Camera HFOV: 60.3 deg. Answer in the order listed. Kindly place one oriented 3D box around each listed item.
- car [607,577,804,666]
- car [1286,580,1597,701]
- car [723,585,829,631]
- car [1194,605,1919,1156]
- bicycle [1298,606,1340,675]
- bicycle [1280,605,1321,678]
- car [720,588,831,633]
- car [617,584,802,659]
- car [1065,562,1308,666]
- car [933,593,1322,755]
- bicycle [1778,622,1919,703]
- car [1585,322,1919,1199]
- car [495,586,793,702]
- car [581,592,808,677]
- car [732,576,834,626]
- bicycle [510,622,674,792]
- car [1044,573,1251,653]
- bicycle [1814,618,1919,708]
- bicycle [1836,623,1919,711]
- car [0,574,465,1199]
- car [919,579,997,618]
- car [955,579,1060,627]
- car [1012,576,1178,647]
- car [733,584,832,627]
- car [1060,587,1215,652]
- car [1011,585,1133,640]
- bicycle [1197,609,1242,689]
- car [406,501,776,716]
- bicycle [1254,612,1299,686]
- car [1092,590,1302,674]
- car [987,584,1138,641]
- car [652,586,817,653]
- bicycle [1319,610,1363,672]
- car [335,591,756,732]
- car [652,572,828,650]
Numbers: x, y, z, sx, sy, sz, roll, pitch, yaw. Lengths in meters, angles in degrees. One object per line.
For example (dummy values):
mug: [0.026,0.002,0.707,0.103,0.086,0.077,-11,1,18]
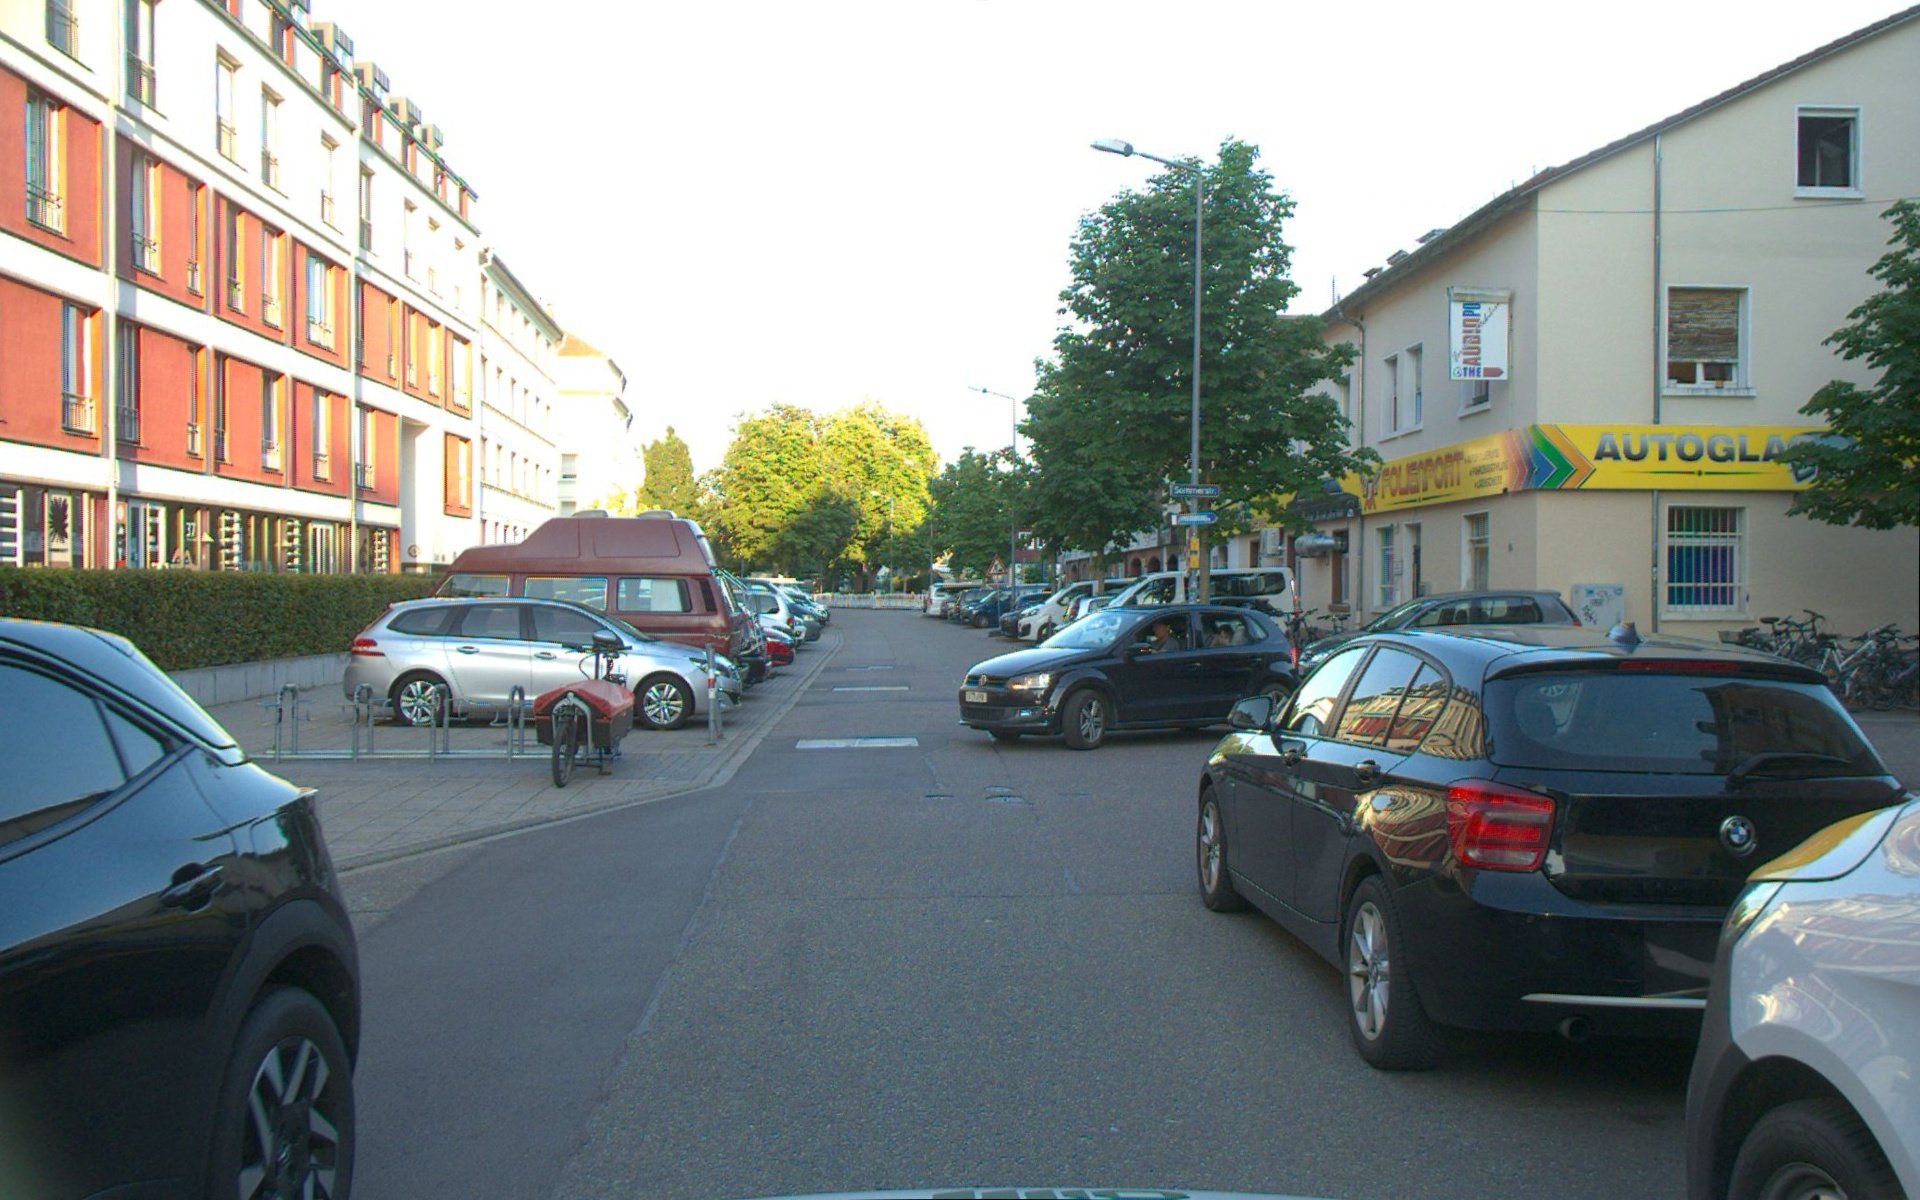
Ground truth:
car: [-5.724,0.481,37.584,4.171,1.868,1.999,1,0,-3]
car: [6.892,0.552,23.916,3.968,1.540,1.756,-1,2,-2]
car: [-7.523,0.325,68.000,4.171,1.744,1.999,1,0,-3]
car: [2.181,0.782,6.647,1.687,1.449,4.251,1,0,-3]
bicycle: [6.291,0.695,29.004,0.346,1.163,1.481,-1,0,-2]
bicycle: [5.941,0.709,28.908,0.346,1.221,1.481,-1,0,-2]
car: [-7.243,0.391,65.270,4.172,1.650,1.999,1,0,-4]
car: [-6.007,0.506,40.046,4.171,1.689,1.999,1,0,-3]
car: [4.862,0.278,35.980,4.889,2.018,2.219,-2,0,-2]
car: [1.795,0.696,17.413,3.888,1.480,1.641,-1,1,-30]
bicycle: [12.083,0.843,22.363,1.812,1.028,0.428,1,2,-1]
car: [2.455,0.549,1.217,1.855,1.917,5.079,1,0,-3]
car: [-4.609,0.634,24.597,4.126,1.565,1.789,1,0,-4]
car: [-5.097,0.654,32.188,4.124,1.516,1.849,1,0,-2]
car: [-8.028,0.037,75.391,4.443,2.171,1.999,1,0,-3]
bicycle: [-3.091,0.849,14.214,0.791,1.243,2.865,1,0,-1]
car: [4.627,0.318,41.317,4.844,1.772,2.049,-2,0,-2]
bicycle: [12.205,0.825,21.728,1.884,1.148,0.427,1,1,-11]
bicycle: [12.239,0.860,21.283,1.816,1.093,0.427,1,2,-11]
car: [-2.239,0.756,2.202,1.742,1.544,4.002,-1,0,3]
car: [-0.121,-0.084,88.975,3.893,1.945,2.046,-2,0,-7]
car: [2.095,0.122,73.609,4.394,1.945,1.685,-2,0,-7]
car: [4.138,0.345,51.192,4.847,1.992,2.047,-2,0,-4]
car: [-7.775,0.236,72.764,4.171,1.780,1.999,1,0,-3]
car: [4.674,0.504,43.953,3.833,1.552,1.938,-2,0,-2]
car: [4.087,0.452,60.972,4.232,1.835,1.809,-2,0,-4]
bicycle: [4.537,0.837,29.047,0.378,1.327,2.016,-1,0,-2]
car: [-4.796,0.109,22.019,4.420,2.629,2.000,1,0,-1]
bicycle: [5.523,0.843,28.900,0.436,1.221,1.481,-1,0,-2]
car: [4.714,0.618,33.186,3.842,1.476,1.766,-2,0,-5]
car: [3.445,0.405,56.028,4.847,1.718,2.075,-2,0,-4]
car: [-6.010,0.507,44.403,4.171,1.681,1.887,1,0,-3]
bicycle: [6.686,0.705,29.066,0.380,1.035,1.481,-1,0,-2]
car: [-4.726,0.695,19.443,4.526,1.486,1.878,1,0,-6]
car: [-6.186,0.301,46.952,4.753,2.056,1.905,1,0,-3]
